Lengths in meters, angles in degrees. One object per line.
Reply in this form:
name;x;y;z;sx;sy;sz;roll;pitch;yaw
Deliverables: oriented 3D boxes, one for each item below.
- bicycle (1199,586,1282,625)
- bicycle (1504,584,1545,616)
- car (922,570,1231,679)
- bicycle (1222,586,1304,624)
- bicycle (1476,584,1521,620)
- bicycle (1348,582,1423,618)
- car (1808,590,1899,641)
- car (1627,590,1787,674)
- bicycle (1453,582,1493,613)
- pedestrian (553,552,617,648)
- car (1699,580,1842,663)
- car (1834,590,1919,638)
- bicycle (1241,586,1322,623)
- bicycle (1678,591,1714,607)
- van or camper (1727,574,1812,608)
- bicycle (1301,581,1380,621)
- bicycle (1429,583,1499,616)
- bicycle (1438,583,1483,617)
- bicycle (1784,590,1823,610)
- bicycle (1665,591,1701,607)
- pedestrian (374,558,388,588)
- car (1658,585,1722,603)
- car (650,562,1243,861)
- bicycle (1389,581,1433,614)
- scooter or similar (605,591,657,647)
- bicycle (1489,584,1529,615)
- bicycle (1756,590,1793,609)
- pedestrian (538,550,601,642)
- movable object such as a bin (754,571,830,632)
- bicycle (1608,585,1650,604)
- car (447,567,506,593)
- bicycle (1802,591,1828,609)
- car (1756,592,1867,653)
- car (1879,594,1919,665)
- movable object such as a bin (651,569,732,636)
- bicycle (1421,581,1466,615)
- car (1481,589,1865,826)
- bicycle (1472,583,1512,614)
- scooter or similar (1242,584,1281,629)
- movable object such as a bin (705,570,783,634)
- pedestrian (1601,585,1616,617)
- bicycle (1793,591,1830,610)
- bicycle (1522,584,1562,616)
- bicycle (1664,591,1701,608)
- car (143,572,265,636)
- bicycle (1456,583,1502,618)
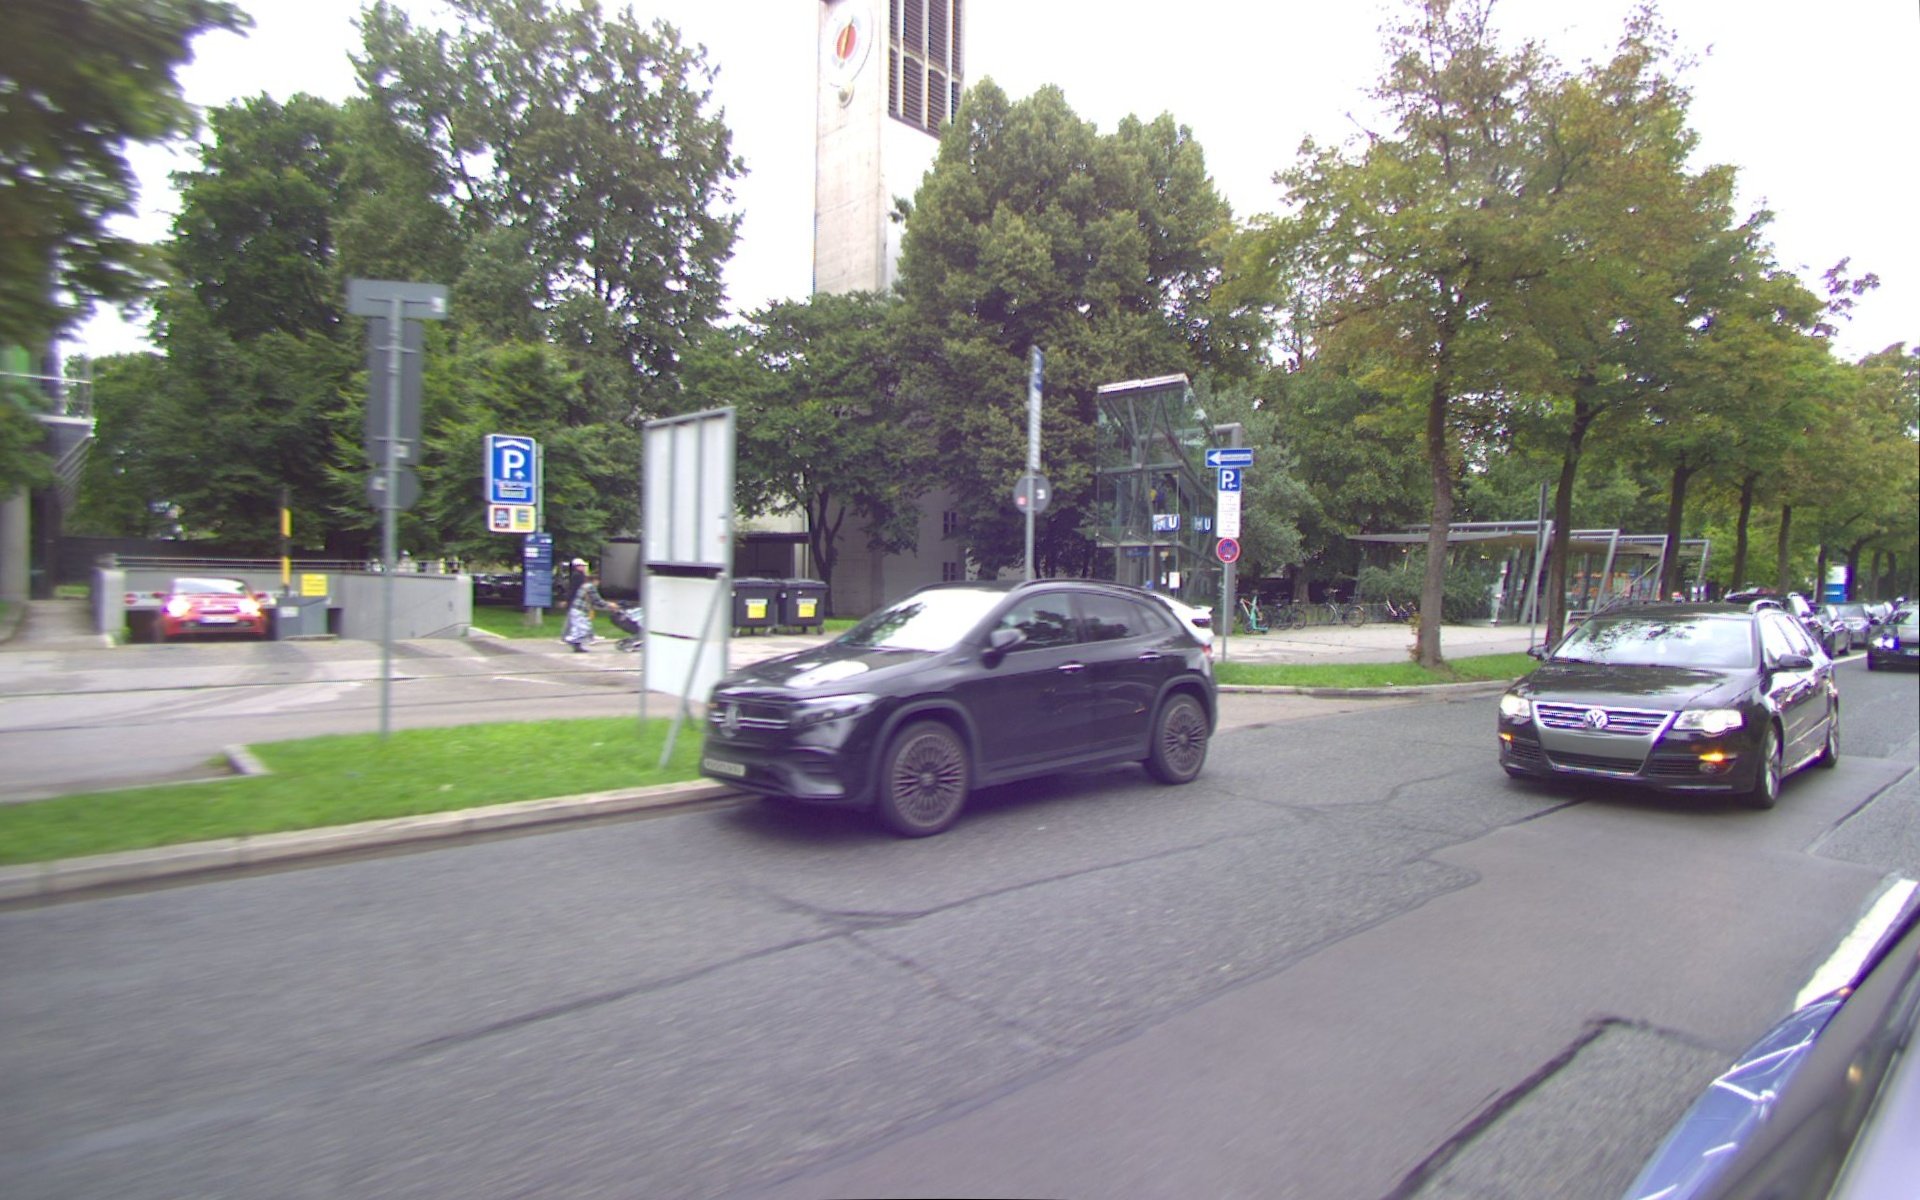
bicycle;8.636;0.140;31.227;0.636;1.102;2.547;0;2;-40
bicycle;23.740;-0.023;42.530;2.506;1.296;0.646;0;1;-41
car;1.793;0.375;16.705;4.750;1.645;1.975;1;1;-4
bicycle;9.556;0.138;31.994;0.636;1.102;2.547;0;2;-40
bicycle;20.420;0.065;38.360;2.506;1.296;0.646;0;1;-41
bicycle;15.920;-0.021;37.916;0.636;1.296;2.547;0;2;-40
car;28.280;0.451;32.006;4.007;1.471;1.637;0;1;-41
car;14.757;0.544;19.908;4.405;1.452;1.656;0;2;-42
bicycle;22.404;-0.108;44.157;2.506;1.296;0.646;0;1;-41
pedestrian;-7.039;-0.006;18.983;0.970;1.742;0.540;0;3;-41
car;18.524;0.423;23.053;4.516;1.696;1.790;0;1;-42
car;31.855;0.443;35.102;4.149;1.527;1.721;0;1;-41
bicycle;10.346;0.135;32.688;0.636;1.102;2.547;0;2;-40
bicycle;54.586;-0.069;75.096;2.088;1.168;0.718;1;1;0
van or camper;58.522;-0.640;73.173;6.069;2.325;2.153;0;1;-23
bicycle;13.091;0.017;34.894;0.636;1.296;2.547;0;2;-40
bicycle;20.862;-0.054;41.957;2.534;1.296;0.486;2;1;35
bicycle;19.529;-0.014;39.436;2.506;1.296;0.646;0;1;-41
bicycle;56.598;-0.011;67.956;1.936;1.227;0.559;4;3;39
bicycle;53.091;-0.066;74.280;2.088;1.168;0.718;1;1;0
pedestrian;-35.735;-1.681;62.457;0.610;1.817;0.595;1;1;43
car;64.095;-0.523;88.862;1.856;1.516;4.305;0;2;-43
car;0.135;0.567;7.588;4.376;1.609;1.764;0;2;-42
bicycle;18.246;-0.106;40.953;2.506;1.296;0.605;0;1;-41
scooter or similar;-6.360;0.349;19.575;0.818;1.031;0.501;0;3;-41
bicycle;23.397;-0.030;43.103;2.506;1.296;0.646;0;1;-41
bicycle;54.873;-0.060;68.153;0.556;1.156;1.813;0;3;-35
pedestrian;-7.764;-0.093;20.120;0.923;1.742;0.830;0;3;-40
movable object such as a bin;-4.085;0.023;24.603;1.292;1.427;1.338;0;1;-42
bicycle;46.593;-0.363;70.478;0.520;1.171;2.344;1;3;-40
car;-31.448;-1.294;65.831;4.441;1.613;1.969;2;2;43
bicycle;58.846;-0.014;69.638;1.962;1.213;0.864;0;3;-37
car;22.386;0.524;26.550;4.231;1.457;1.636;0;2;-42
car;21.437;0.602;21.855;4.589;1.447;1.818;0;0;-41
movable object such as a bin;-6.061;0.035;22.836;1.292;1.427;1.338;0;1;-42
bicycle;19.089;-0.070;39.943;2.506;1.296;0.646;0;1;-41
car;6.262;0.665;8.644;4.592;1.493;1.750;0;1;-43
bicycle;22.904;-0.075;43.574;2.506;1.296;0.646;0;1;-41
scooter or similar;8.525;0.168;28.575;1.214;1.248;0.421;0;1;-38
movable object such as a bin;-5.074;0.028;23.723;1.292;1.427;1.338;0;1;-42
pedestrian;32.209;0.037;50.287;0.575;1.532;0.687;1;1;31
bicycle;56.507;0.048;67.179;1.803;1.156;0.559;4;3;39
bicycle;24.170;-0.017;42.014;2.506;1.296;0.646;0;1;-41
bicycle;52.176;-0.059;73.121;2.091;1.168;0.718;1;1;5
car;-15.058;0.042;20.100;1.536;1.166;3.443;0;1;-44
bicycle;19.980;0.009;38.931;2.506;1.296;0.646;0;1;-41
